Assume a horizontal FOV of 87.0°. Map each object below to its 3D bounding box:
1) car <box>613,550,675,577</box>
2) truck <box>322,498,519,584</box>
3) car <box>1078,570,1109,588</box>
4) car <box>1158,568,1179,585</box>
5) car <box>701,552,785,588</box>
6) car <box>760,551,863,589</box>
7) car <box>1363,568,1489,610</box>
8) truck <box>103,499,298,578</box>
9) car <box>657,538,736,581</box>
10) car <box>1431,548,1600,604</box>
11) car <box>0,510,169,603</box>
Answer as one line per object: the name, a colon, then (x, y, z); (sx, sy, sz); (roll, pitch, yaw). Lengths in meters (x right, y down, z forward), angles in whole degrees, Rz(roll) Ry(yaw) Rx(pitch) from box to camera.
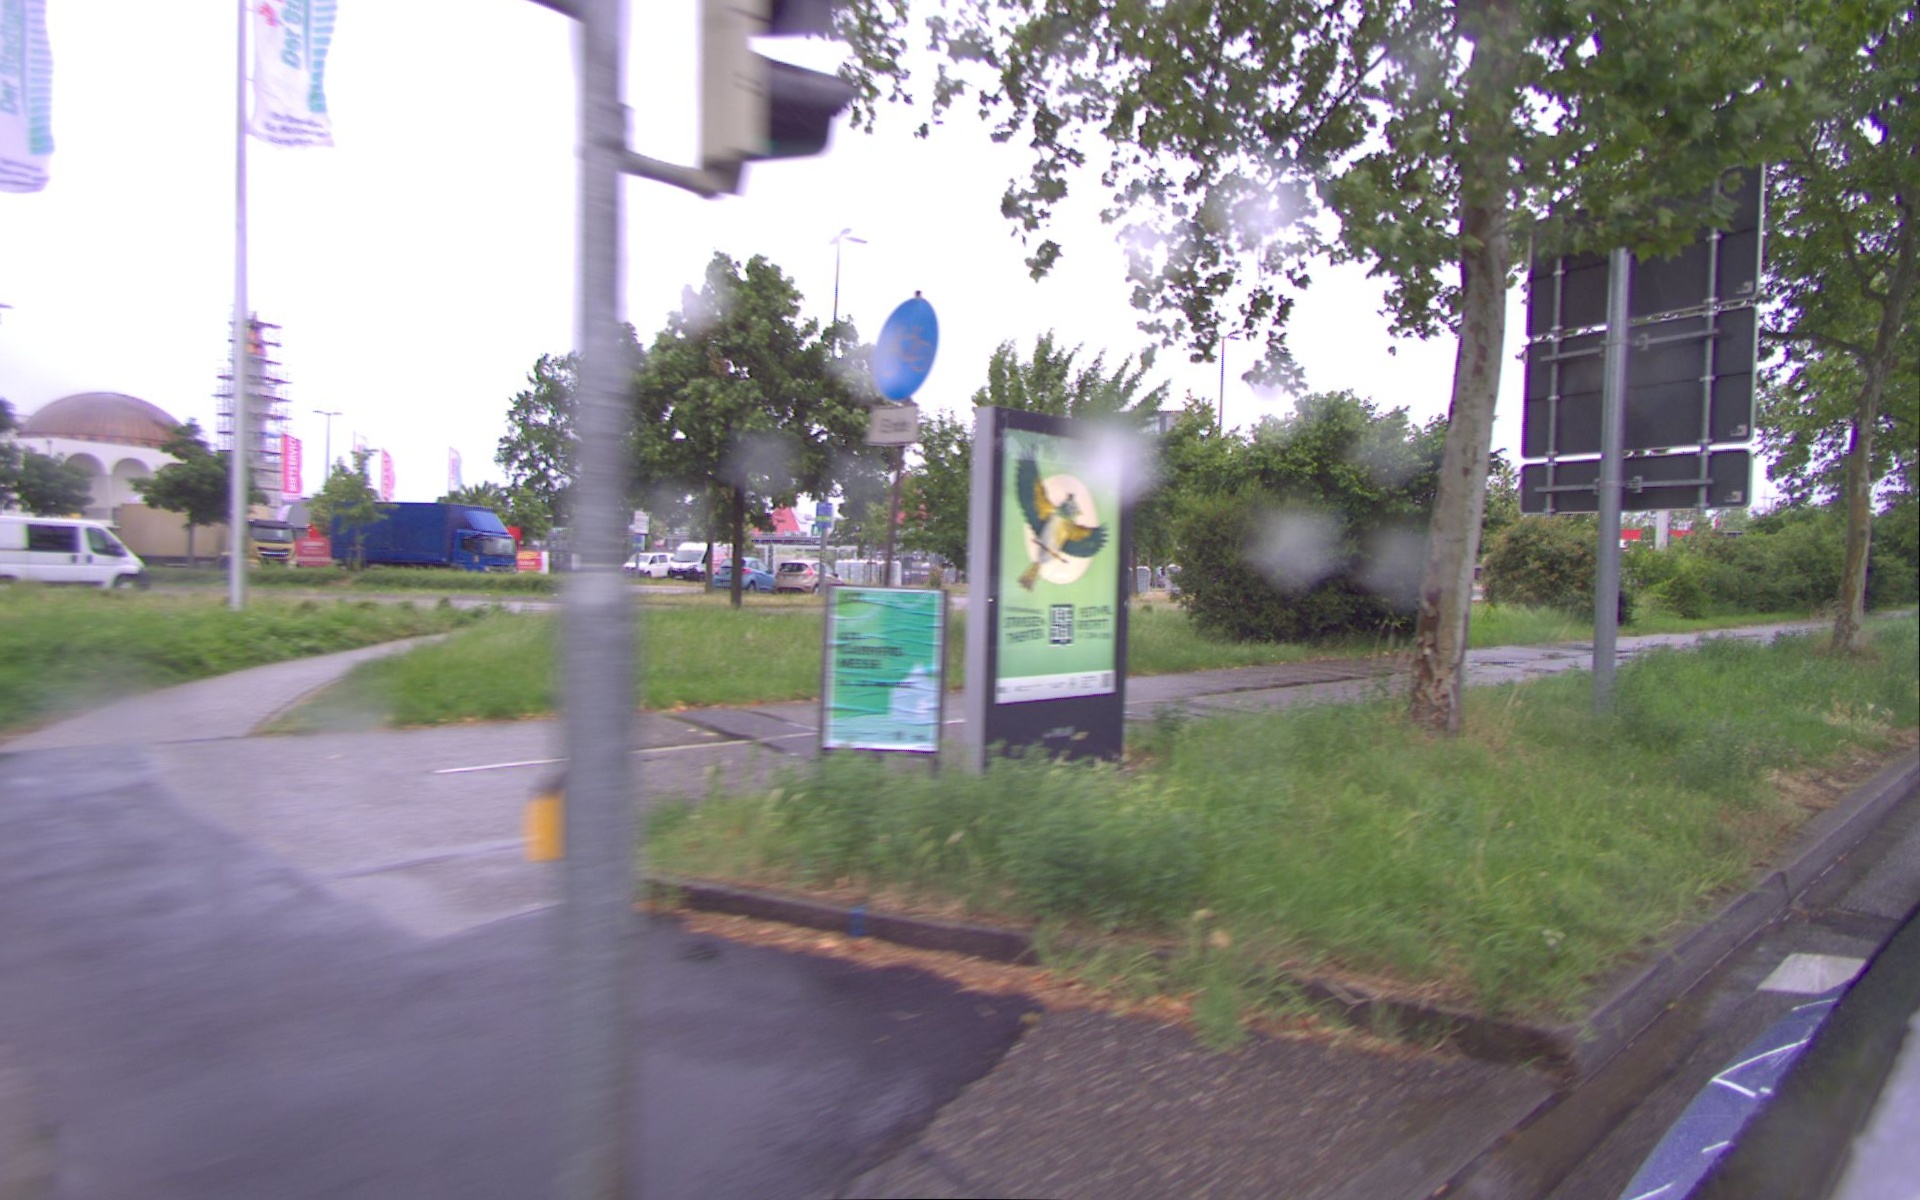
car: (-22.771, -2.643, 73.096); (2.027, 1.918, 4.772); (1, 2, 16)
truck: (-23.247, -2.535, 43.608); (7.902, 3.513, 2.541); (2, 1, 16)
car: (11.949, -1.881, 90.408); (1.906, 1.571, 4.247); (1, 2, 19)
car: (21.793, -2.509, 105.741); (1.974, 1.697, 4.255); (1, 2, 15)
car: (-8.391, -1.188, 39.515); (1.839, 1.308, 4.039); (1, 2, 10)
car: (-5.478, -1.121, 37.863); (1.851, 1.308, 4.013); (2, 3, 27)
car: (18.936, -0.506, 41.236); (1.898, 1.571, 4.264); (-1, 3, -44)
truck: (-36.165, -2.854, 48.152); (9.273, 3.513, 2.538); (1, 0, 18)
car: (-15.349, -2.362, 59.313); (2.296, 2.390, 5.497); (1, 2, 12)
car: (25.269, -1.179, 46.247); (6.402, 2.391, 2.356); (3, 3, 42)
car: (-23.646, -1.119, 26.005); (2.157, 2.231, 5.088); (1, 2, 11)
